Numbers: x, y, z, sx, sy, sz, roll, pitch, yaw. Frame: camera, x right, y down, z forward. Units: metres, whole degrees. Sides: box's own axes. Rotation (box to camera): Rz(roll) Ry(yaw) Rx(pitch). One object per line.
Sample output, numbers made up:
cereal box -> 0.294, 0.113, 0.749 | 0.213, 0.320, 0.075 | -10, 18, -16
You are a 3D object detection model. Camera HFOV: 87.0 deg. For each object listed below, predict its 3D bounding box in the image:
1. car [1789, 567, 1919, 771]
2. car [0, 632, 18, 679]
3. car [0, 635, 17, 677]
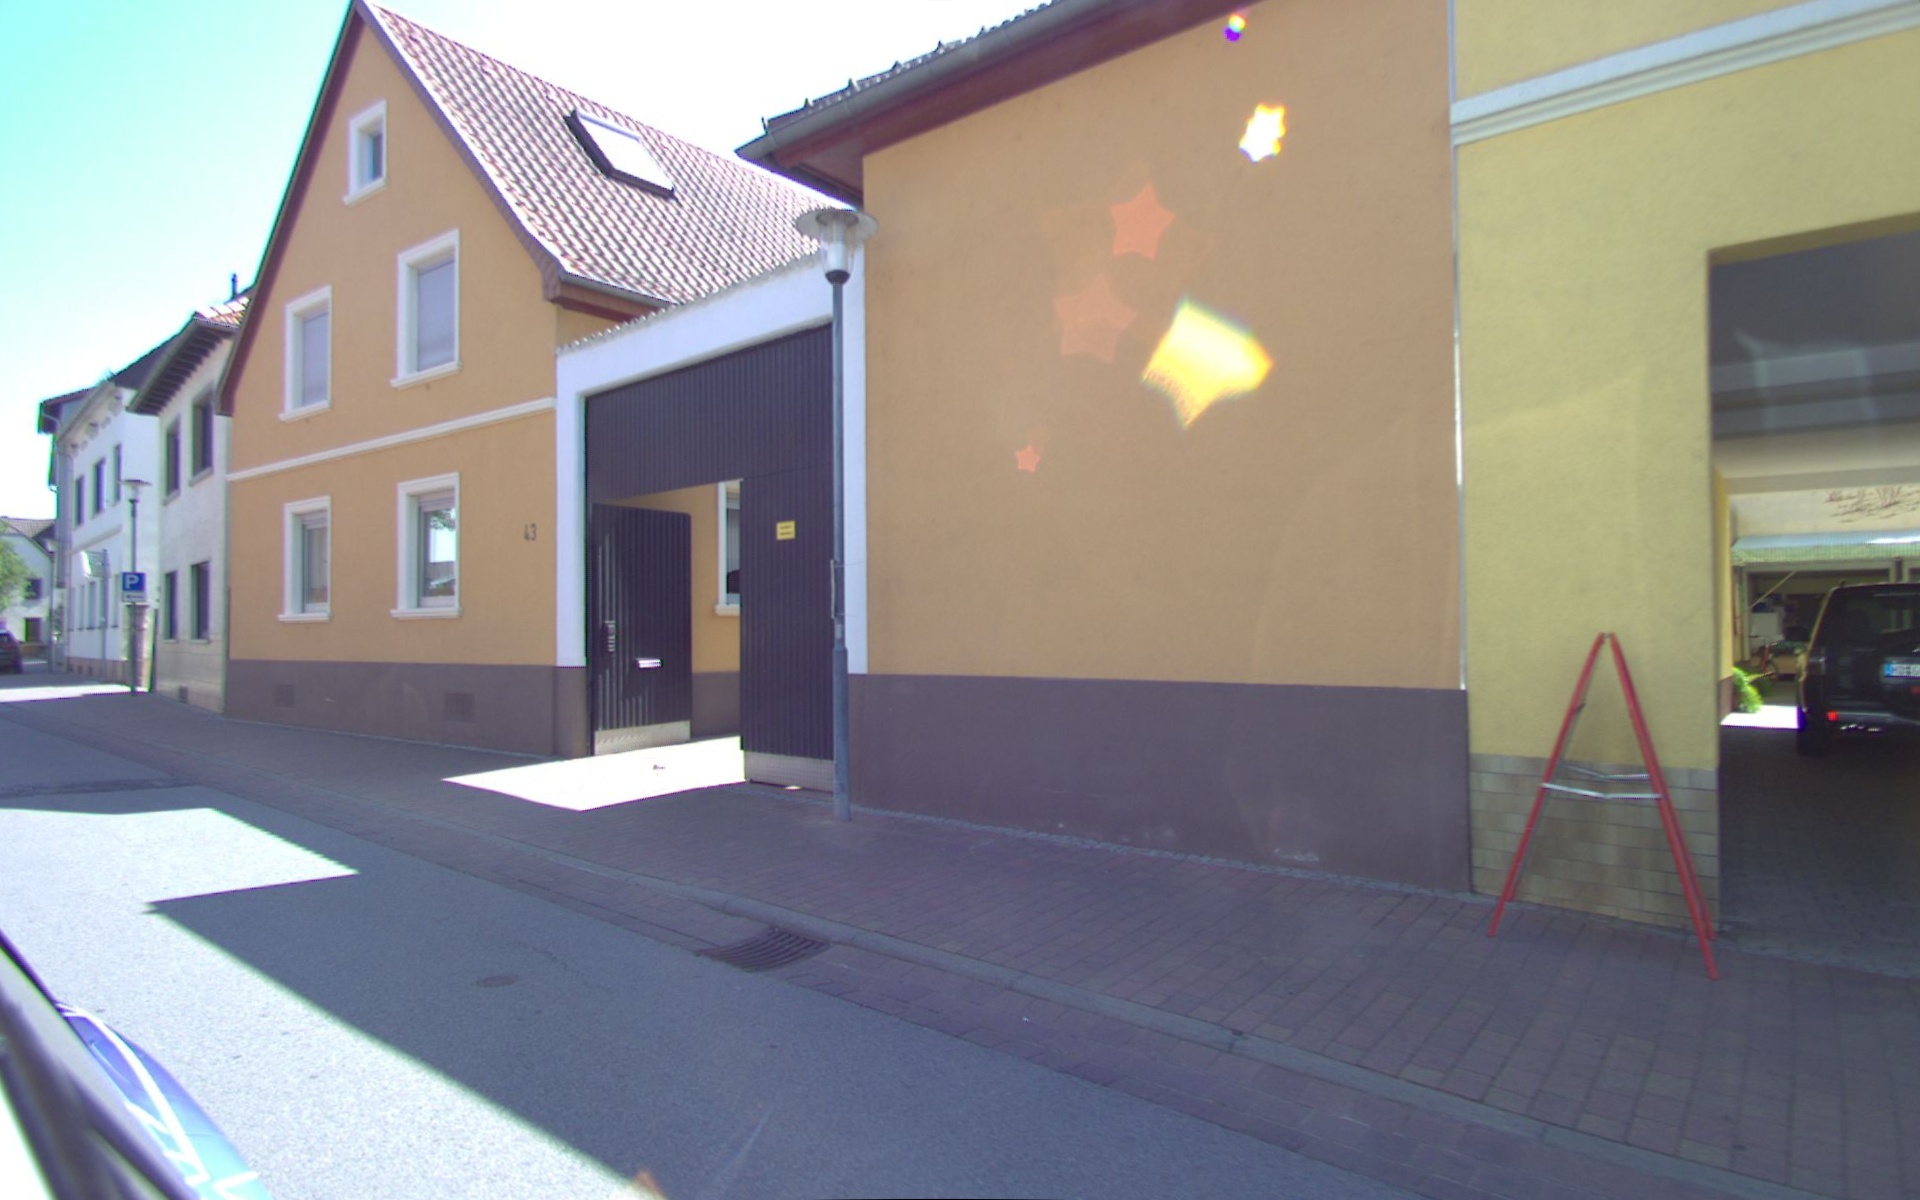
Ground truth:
car -> 10.126, 0.617, 10.671 | 1.997, 1.863, 3.949 | -2, -1, 38
car -> -35.475, 2.051, 36.702 | 1.837, 1.642, 4.049 | 0, -3, -44
car -> -39.021, 2.221, 40.381 | 3.988, 1.627, 1.890 | -2, -3, 45
